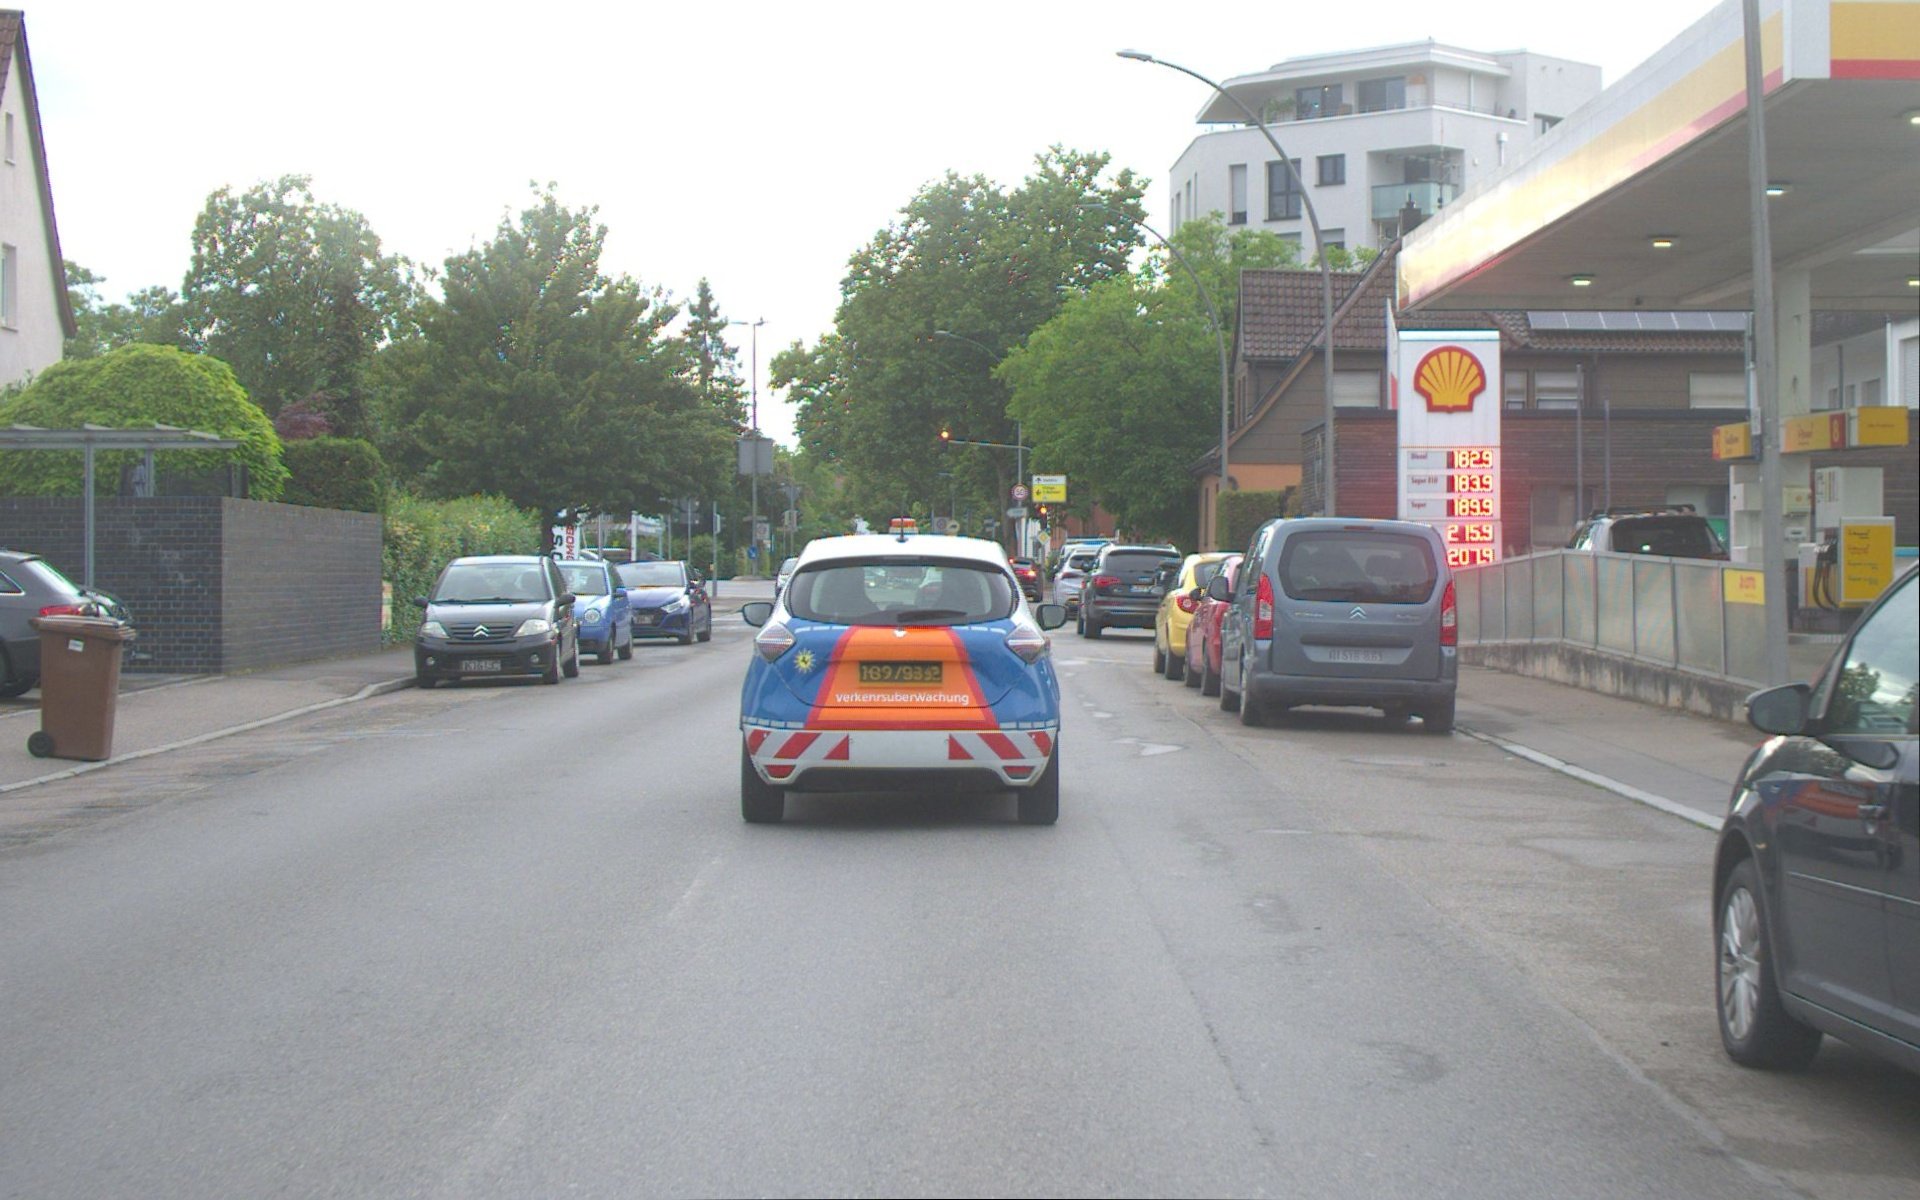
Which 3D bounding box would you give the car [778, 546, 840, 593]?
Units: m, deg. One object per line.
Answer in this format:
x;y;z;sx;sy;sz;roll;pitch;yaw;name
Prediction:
-4.610;-0.948;105.209;1.626;1.428;3.683;0;1;2;car

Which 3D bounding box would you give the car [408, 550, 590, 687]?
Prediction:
-5.409;0.186;40.666;1.608;1.501;3.707;-1;1;0;car

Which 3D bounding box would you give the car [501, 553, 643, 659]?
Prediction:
-5.433;0.061;48.427;1.546;1.398;3.597;-1;1;0;car

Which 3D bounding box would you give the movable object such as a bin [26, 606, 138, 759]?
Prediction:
-6.617;0.616;25.931;0.595;1.053;0.687;5;3;0;movable object such as a bin

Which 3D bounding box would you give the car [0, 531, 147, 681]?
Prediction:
-10.237;0.014;34.912;3.584;1.452;1.757;2;1;-4;car

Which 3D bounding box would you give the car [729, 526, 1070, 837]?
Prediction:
-0.310;0.379;19.703;1.746;1.575;4.000;0;1;0;car

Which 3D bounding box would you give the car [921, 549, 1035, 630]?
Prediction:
0.417;-0.248;73.145;1.994;1.568;3.999;2;2;6;car

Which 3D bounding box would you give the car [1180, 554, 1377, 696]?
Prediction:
3.270;0.222;35.975;1.656;1.372;4.025;0;1;0;car

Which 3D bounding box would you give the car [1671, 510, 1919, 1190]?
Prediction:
3.230;0.573;8.501;1.993;1.590;4.001;0;1;-2;car

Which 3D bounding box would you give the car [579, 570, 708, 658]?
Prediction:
-5.392;0.216;58.954;1.807;1.398;3.945;-1;1;0;car

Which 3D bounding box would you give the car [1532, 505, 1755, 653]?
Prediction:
8.444;-0.281;42.802;1.819;1.753;4.001;0;1;-2;car

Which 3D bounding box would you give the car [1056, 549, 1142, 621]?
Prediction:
3.327;-0.390;83.139;1.865;1.659;4.320;1;1;0;car

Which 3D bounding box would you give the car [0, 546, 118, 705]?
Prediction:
-9.997;0.189;31.842;4.083;1.409;1.714;1;1;-7;car

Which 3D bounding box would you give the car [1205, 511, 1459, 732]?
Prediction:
3.199;0.139;30.316;1.656;1.732;4.445;3;1;0;car

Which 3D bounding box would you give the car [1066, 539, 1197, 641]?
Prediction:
3.049;-0.209;61.934;2.091;1.656;4.559;2;2;0;car

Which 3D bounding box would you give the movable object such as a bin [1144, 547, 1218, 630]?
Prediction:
3.756;-0.208;58.560;1.126;1.383;1.504;0;1;-2;movable object such as a bin

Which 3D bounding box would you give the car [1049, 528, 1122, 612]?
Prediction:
3.275;-0.798;89.111;1.778;2.022;4.753;2;2;3;car

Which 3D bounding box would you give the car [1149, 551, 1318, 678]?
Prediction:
3.185;0.136;40.619;1.656;1.397;3.802;0;1;0;car

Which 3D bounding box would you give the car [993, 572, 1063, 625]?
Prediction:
2.044;-0.053;104.342;1.794;1.423;4.001;1;2;-3;car
